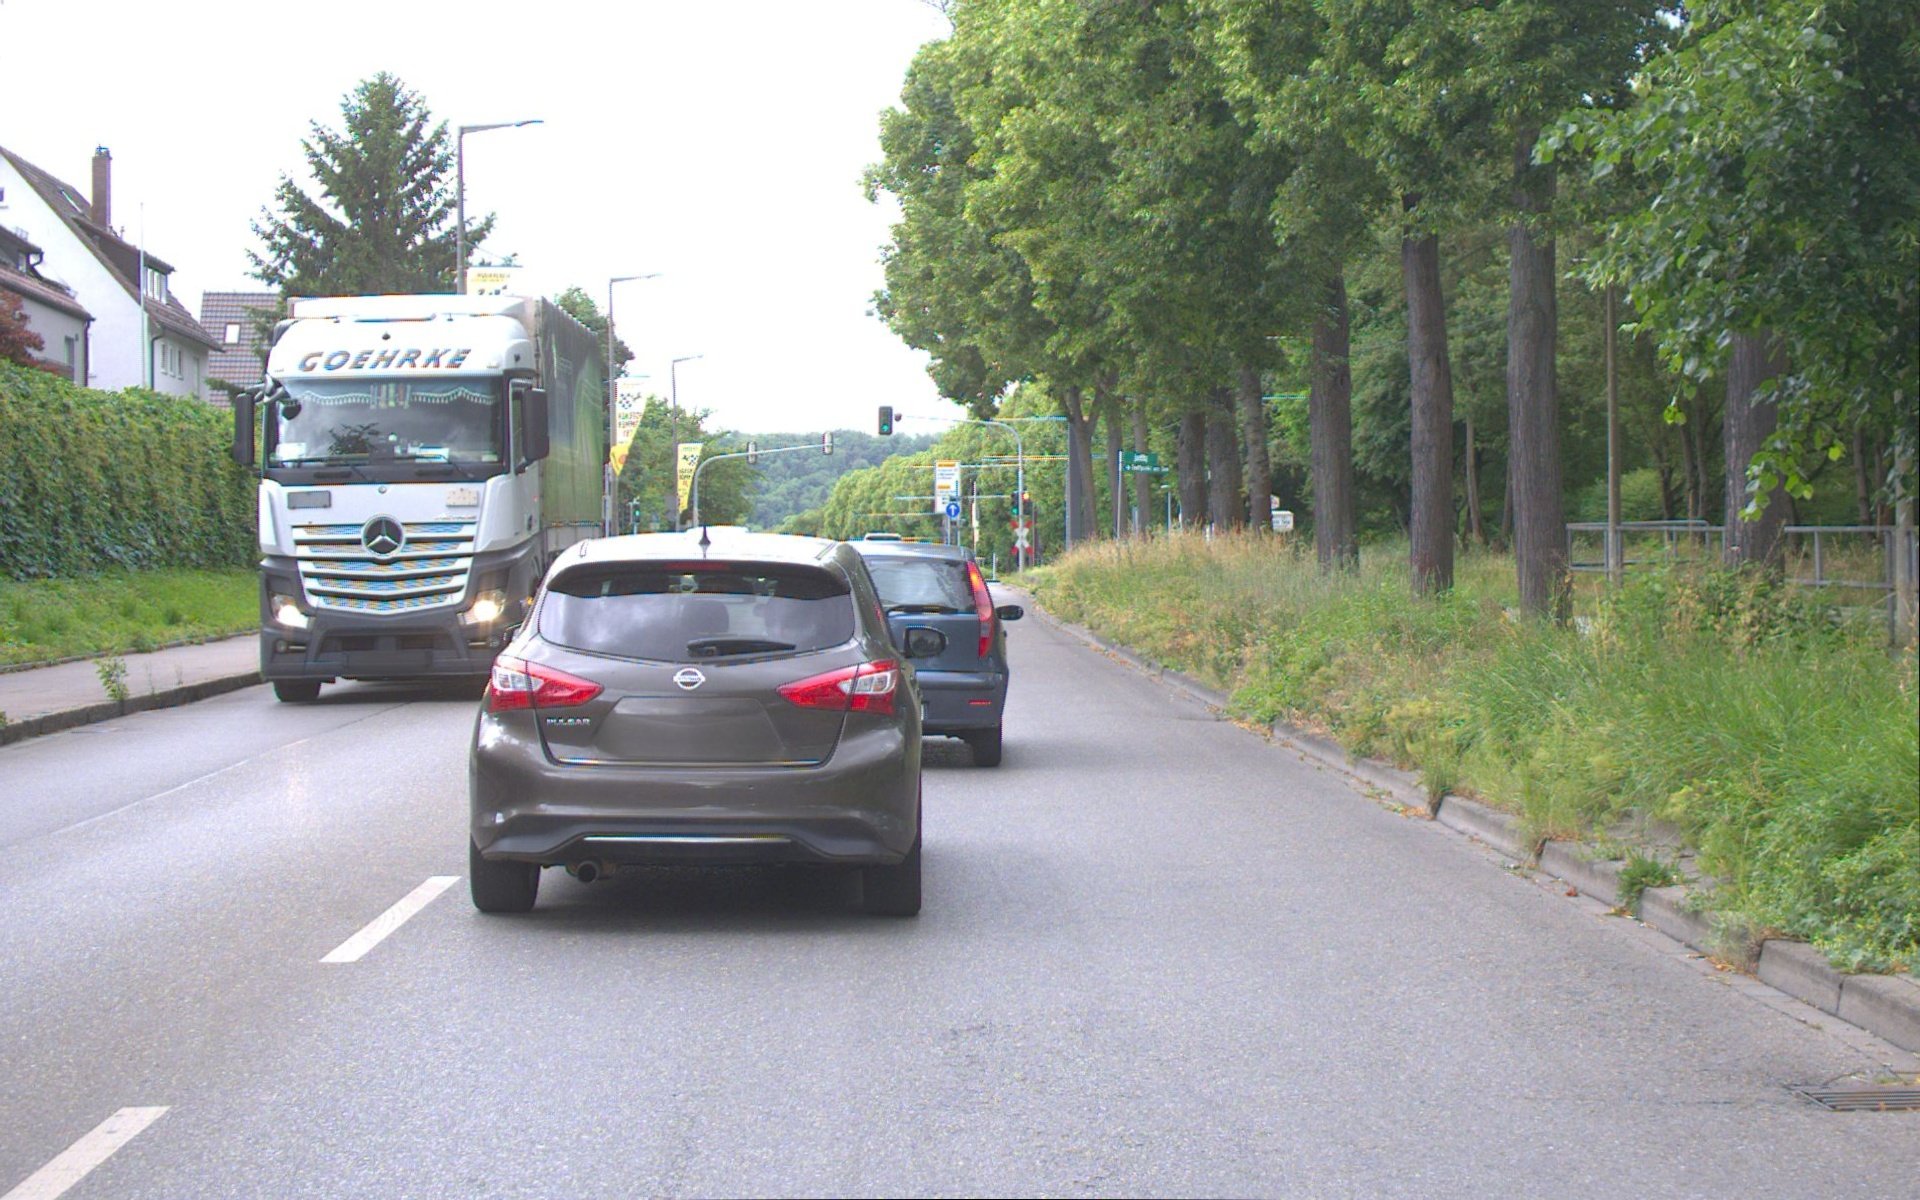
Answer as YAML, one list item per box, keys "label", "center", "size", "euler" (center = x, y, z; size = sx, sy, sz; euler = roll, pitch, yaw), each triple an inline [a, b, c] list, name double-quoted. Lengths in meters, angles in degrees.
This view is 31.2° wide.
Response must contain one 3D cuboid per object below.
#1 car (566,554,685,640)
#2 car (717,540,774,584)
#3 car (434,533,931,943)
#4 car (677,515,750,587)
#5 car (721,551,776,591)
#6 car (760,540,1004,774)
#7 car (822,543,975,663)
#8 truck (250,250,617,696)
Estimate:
- label: "car"
  center: [-5.721, -0.078, 59.208]
  size: [1.732, 1.370, 4.240]
  euler: [-1, 1, -2]
- label: "car"
  center: [-6.970, -1.256, 112.074]
  size: [1.650, 1.343, 4.478]
  euler: [-1, 1, -1]
- label: "car"
  center: [-1.066, 0.470, 14.996]
  size: [1.835, 1.514, 4.483]
  euler: [0, 1, -1]
- label: "car"
  center: [-6.824, -1.336, 95.643]
  size: [1.906, 1.925, 4.911]
  euler: [-1, 0, -3]
- label: "car"
  center: [-7.652, -1.057, 124.794]
  size: [1.886, 1.378, 4.491]
  euler: [-1, 1, -3]
- label: "car"
  center: [-0.533, 0.332, 23.920]
  size: [1.538, 1.473, 3.764]
  euler: [-1, 1, -1]
- label: "car"
  center: [-0.757, 0.002, 42.291]
  size: [1.792, 1.392, 4.000]
  euler: [0, 1, -1]
- label: "truck"
  center: [-5.391, -1.222, 37.101]
  size: [2.549, 4.030, 10.621]
  euler: [-2, 1, -2]
